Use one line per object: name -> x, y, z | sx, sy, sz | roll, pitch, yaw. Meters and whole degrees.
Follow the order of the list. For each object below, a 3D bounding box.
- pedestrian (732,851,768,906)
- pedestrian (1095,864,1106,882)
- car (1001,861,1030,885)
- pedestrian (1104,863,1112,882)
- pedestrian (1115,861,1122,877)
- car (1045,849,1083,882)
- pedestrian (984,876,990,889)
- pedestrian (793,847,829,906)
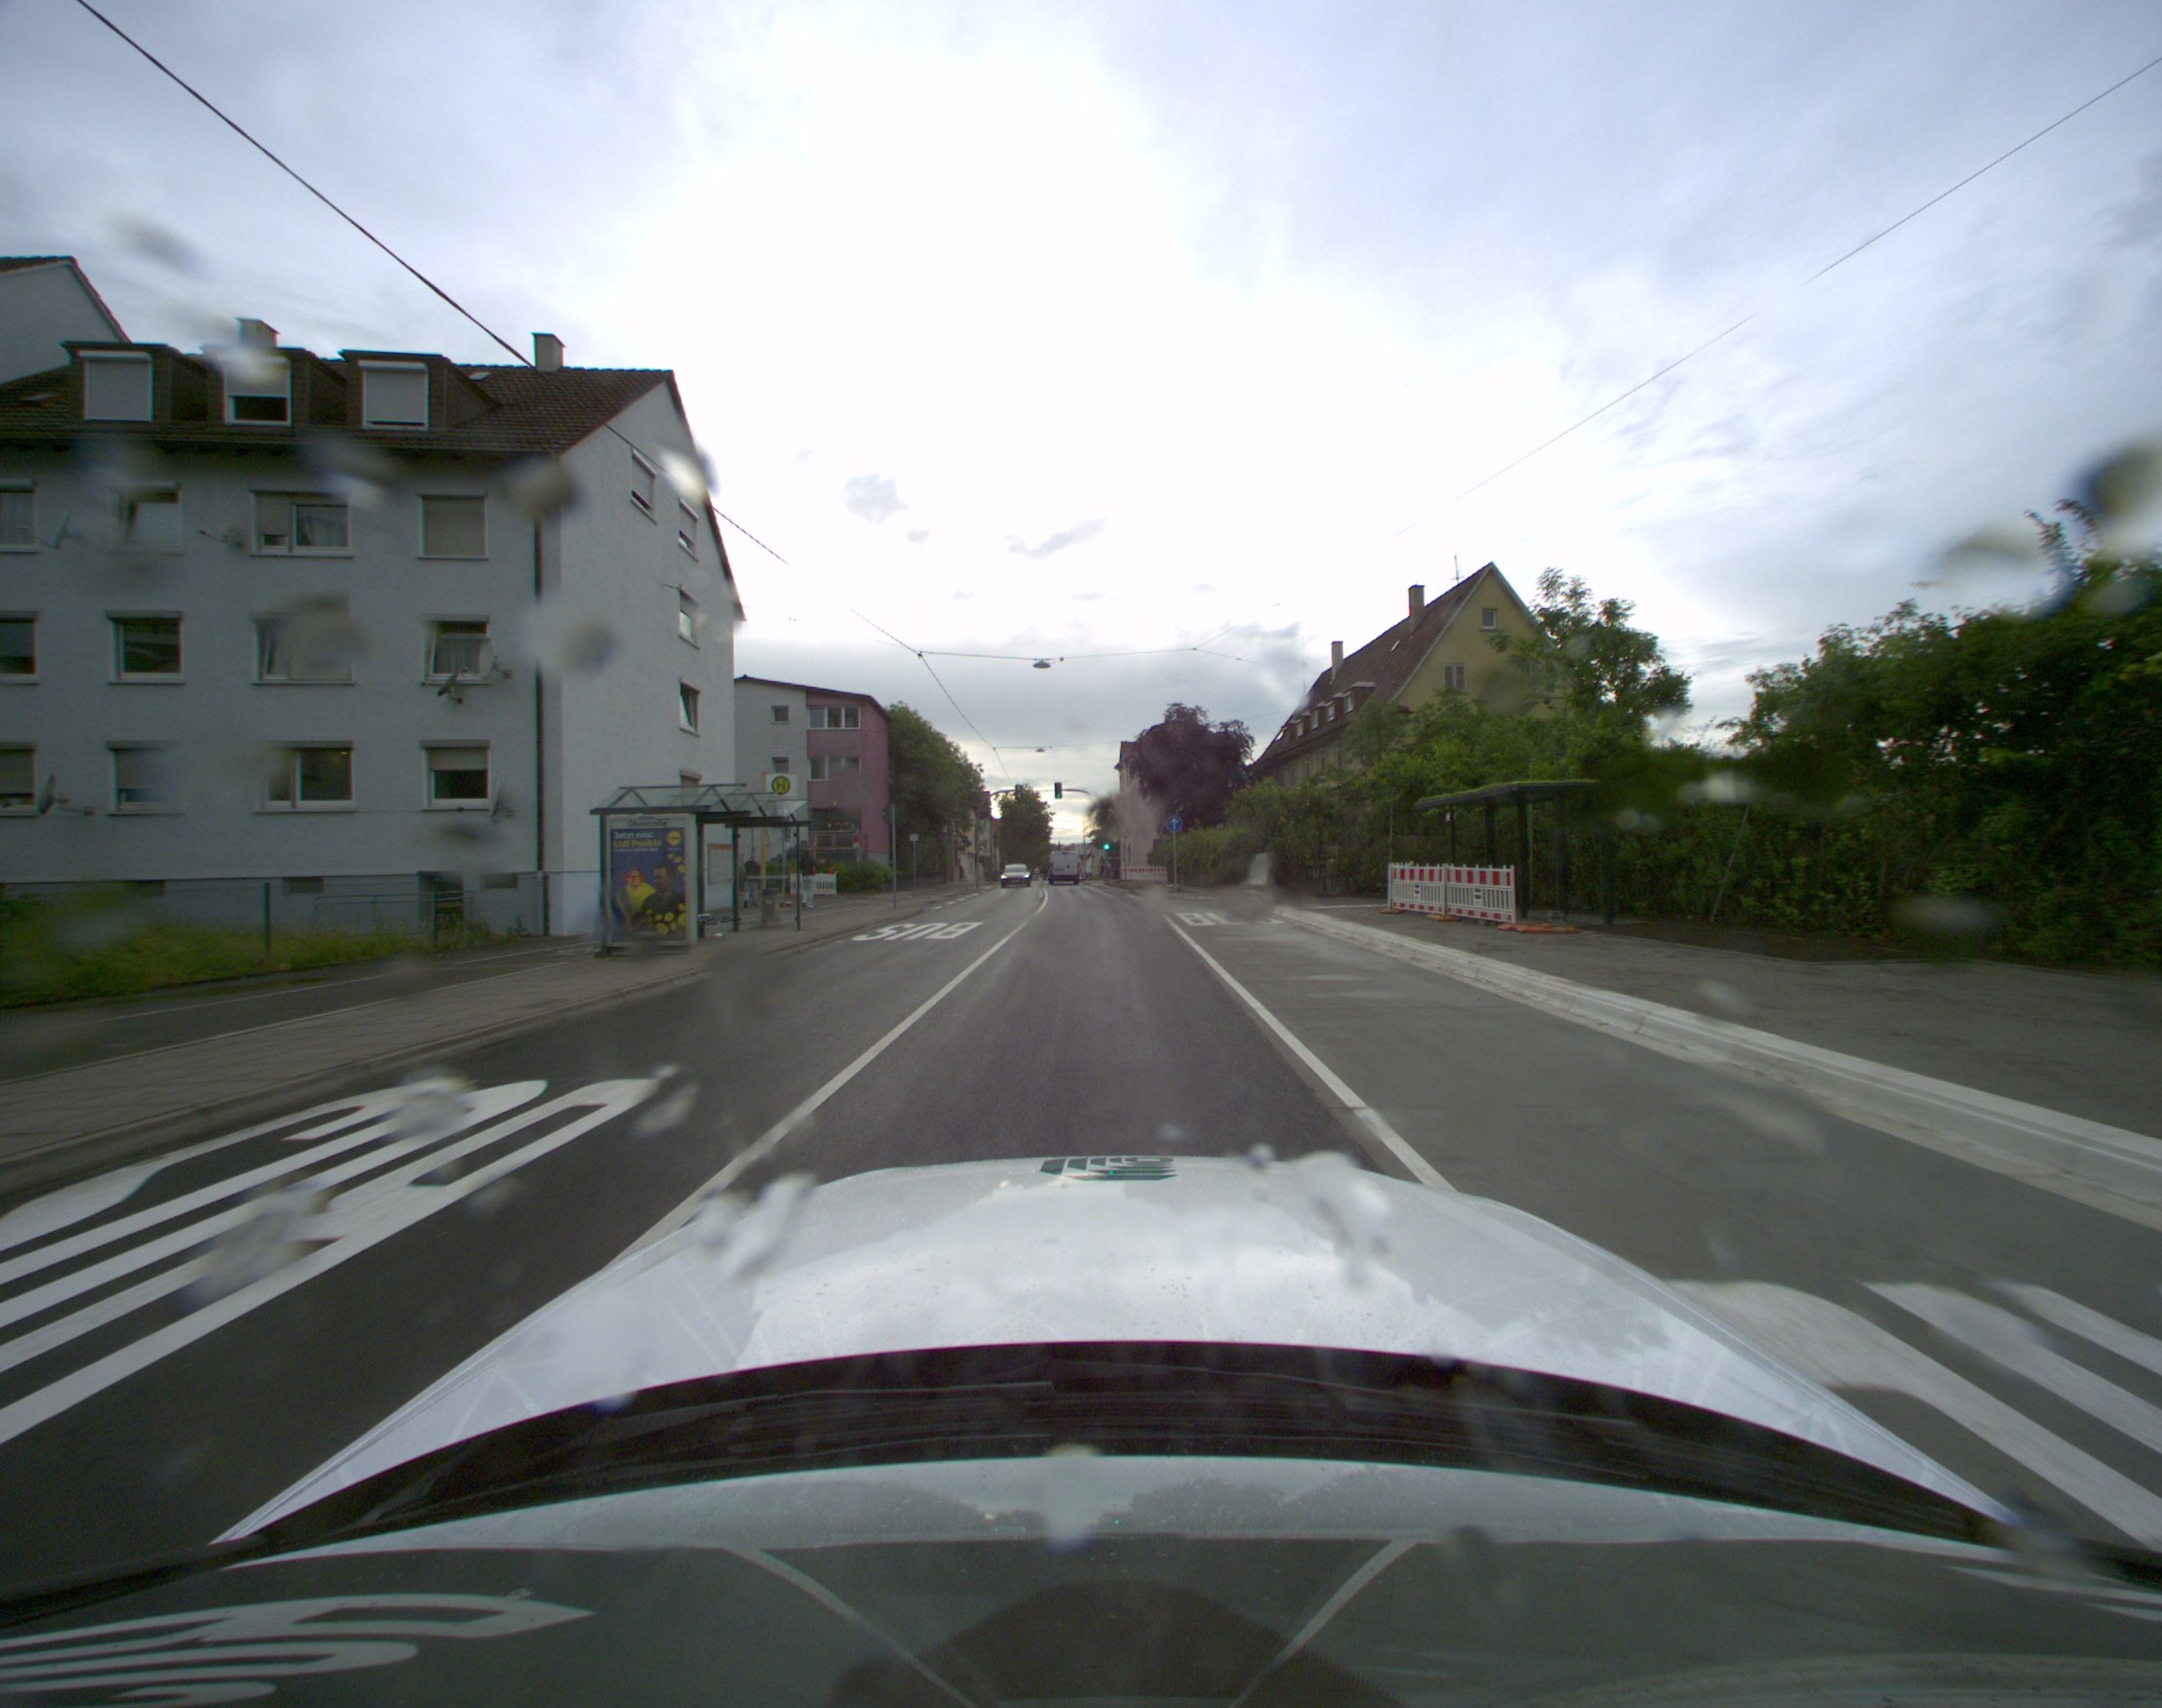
pedestrian -> -11.208, 0.805, 27.621 | 0.804, 1.821, 1.115 | 0, 0, -4
pedestrian -> 1.994, 1.919, 82.793 | 0.639, 1.710, 0.741 | -2, -2, -37
car -> -4.190, 1.196, 52.328 | 1.780, 1.452, 4.382 | -1, 0, -4
pedestrian -> 2.768, 1.870, 83.532 | 0.482, 1.875, 0.636 | -4, -2, 28
pedestrian -> 4.304, 1.697, 92.743 | 0.642, 1.832, 0.744 | -3, -2, 11
car -> -1.256, 0.840, 57.261 | 2.343, 2.160, 4.768 | -1, -1, -5
pedestrian -> -13.211, 4.001, 114.095 | 0.814, 1.680, 0.991 | 0, -3, -5
pedestrian -> -8.828, 0.730, 26.667 | 0.860, 1.882, 1.042 | -1, 0, -5
